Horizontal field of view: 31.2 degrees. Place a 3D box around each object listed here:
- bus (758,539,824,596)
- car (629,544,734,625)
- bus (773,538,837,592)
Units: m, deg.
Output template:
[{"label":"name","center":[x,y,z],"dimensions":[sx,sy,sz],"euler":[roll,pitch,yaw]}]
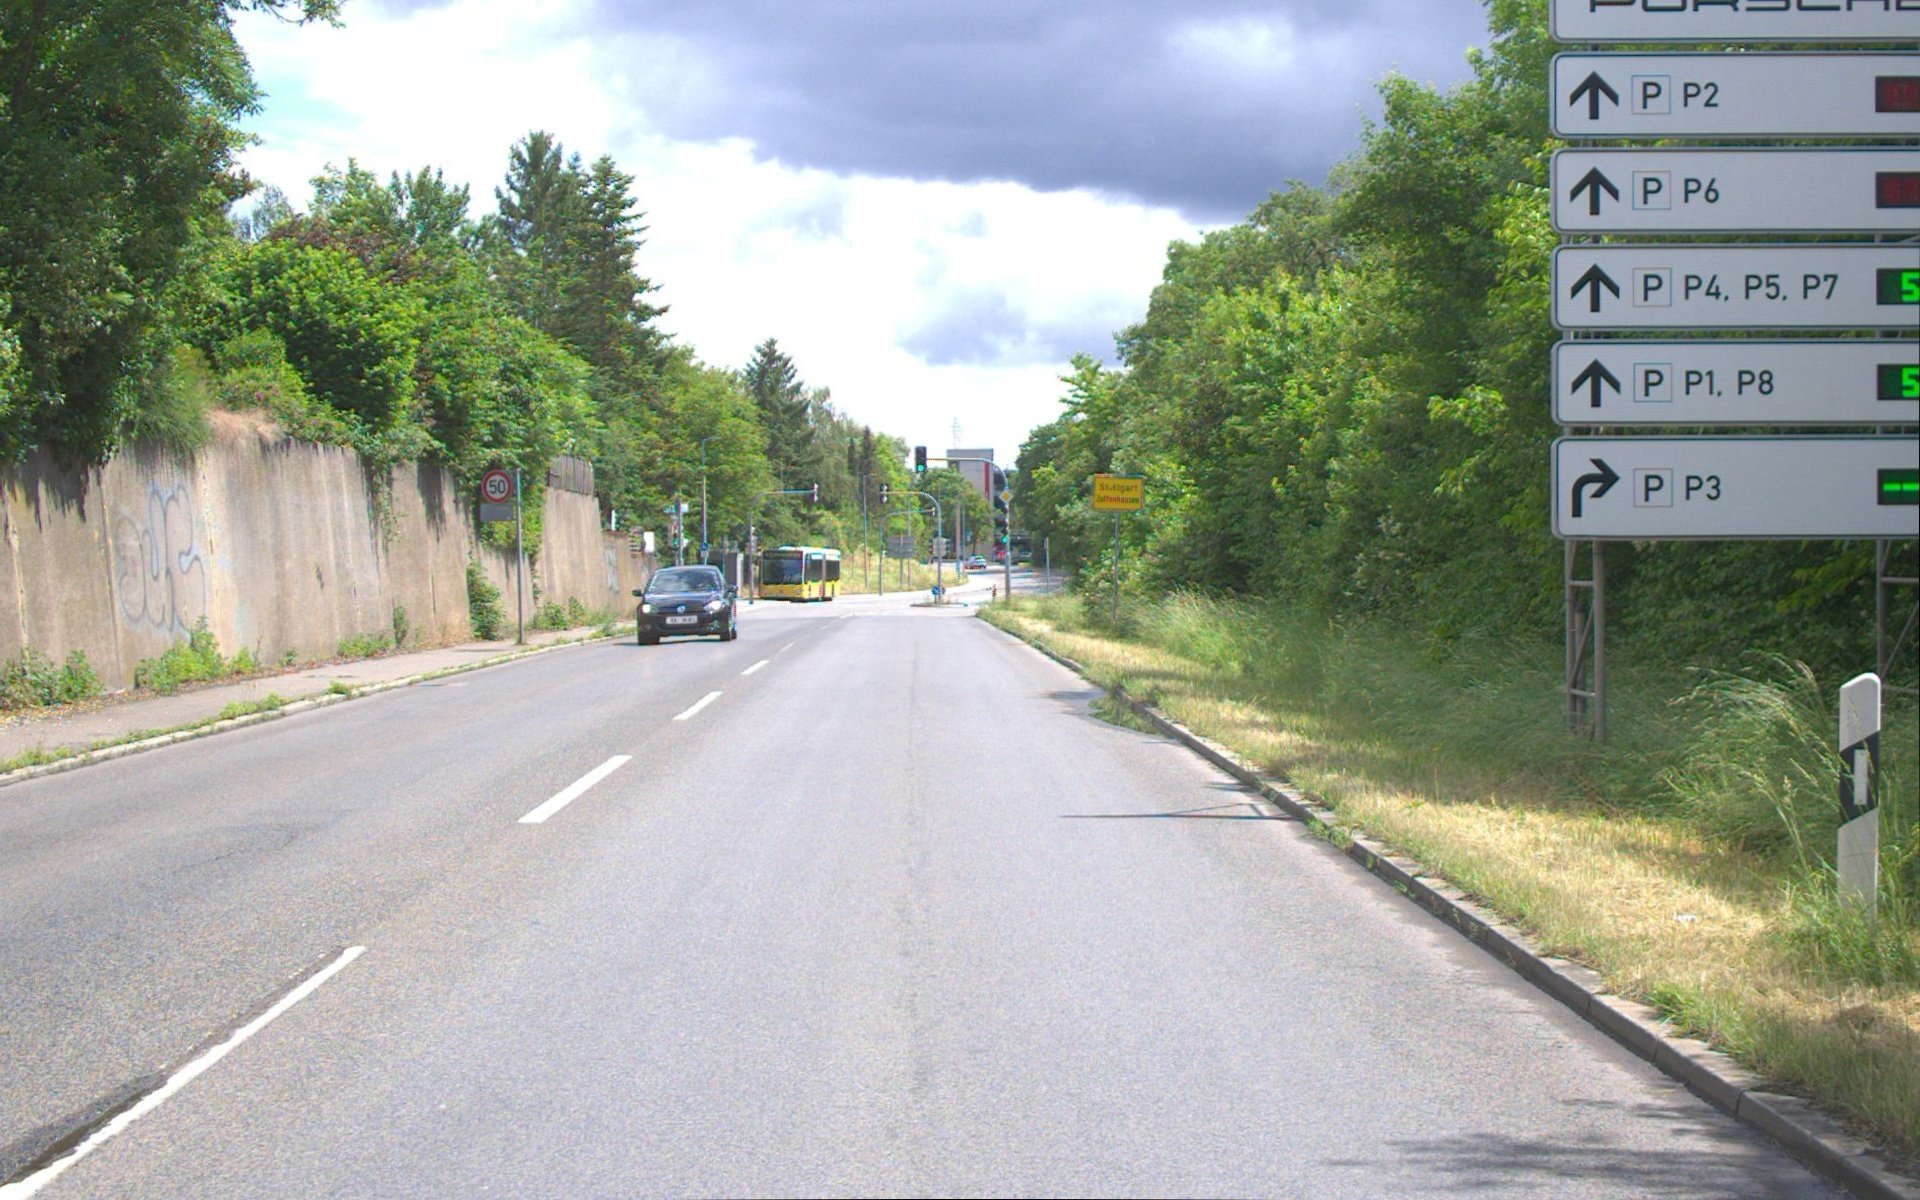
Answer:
[{"label":"bus","center":[-9.422,-1.845,192.117],"dimensions":[2.895,2.889,7.667],"euler":[2,2,3]},{"label":"car","center":[-5.284,-0.314,65.593],"dimensions":[1.751,1.459,4.000],"euler":[-1,1,-1]},{"label":"bus","center":[-8.969,-2.073,199.685],"dimensions":[2.895,2.889,7.667],"euler":[2,2,3]}]
